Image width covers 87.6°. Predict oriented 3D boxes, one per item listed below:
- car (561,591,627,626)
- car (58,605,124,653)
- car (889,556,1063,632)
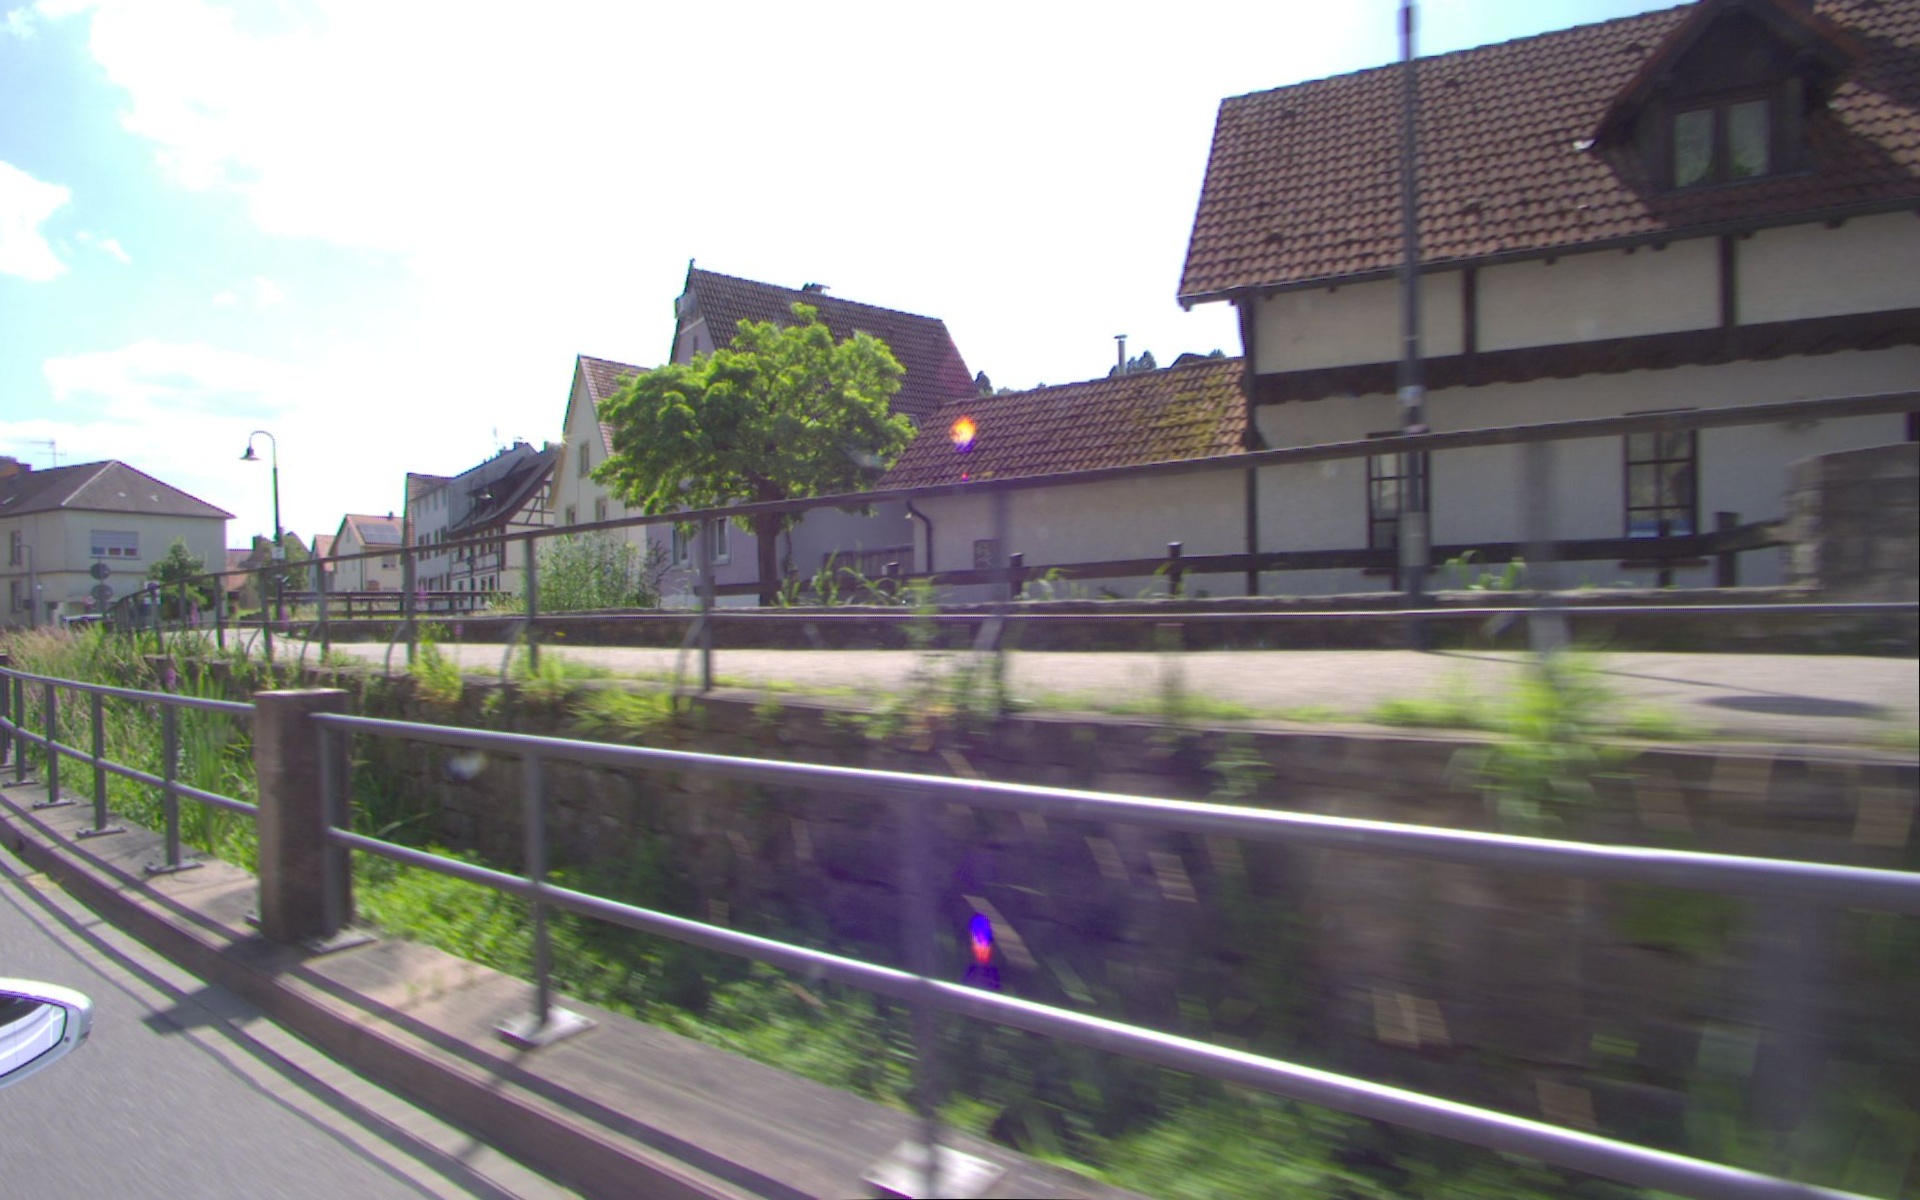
[{"bbox_3d":[-15.319,0.384,41.899,1.653,1.434,3.052,1,-1,-40],"label":"car"},{"bbox_3d":[-38.931,1.265,44.916,1.880,2.007,3.091,-3,1,-37],"label":"car"},{"bbox_3d":[0.365,-0.098,22.122,3.467,1.545,1.748,0,-1,-32],"label":"car"}]
